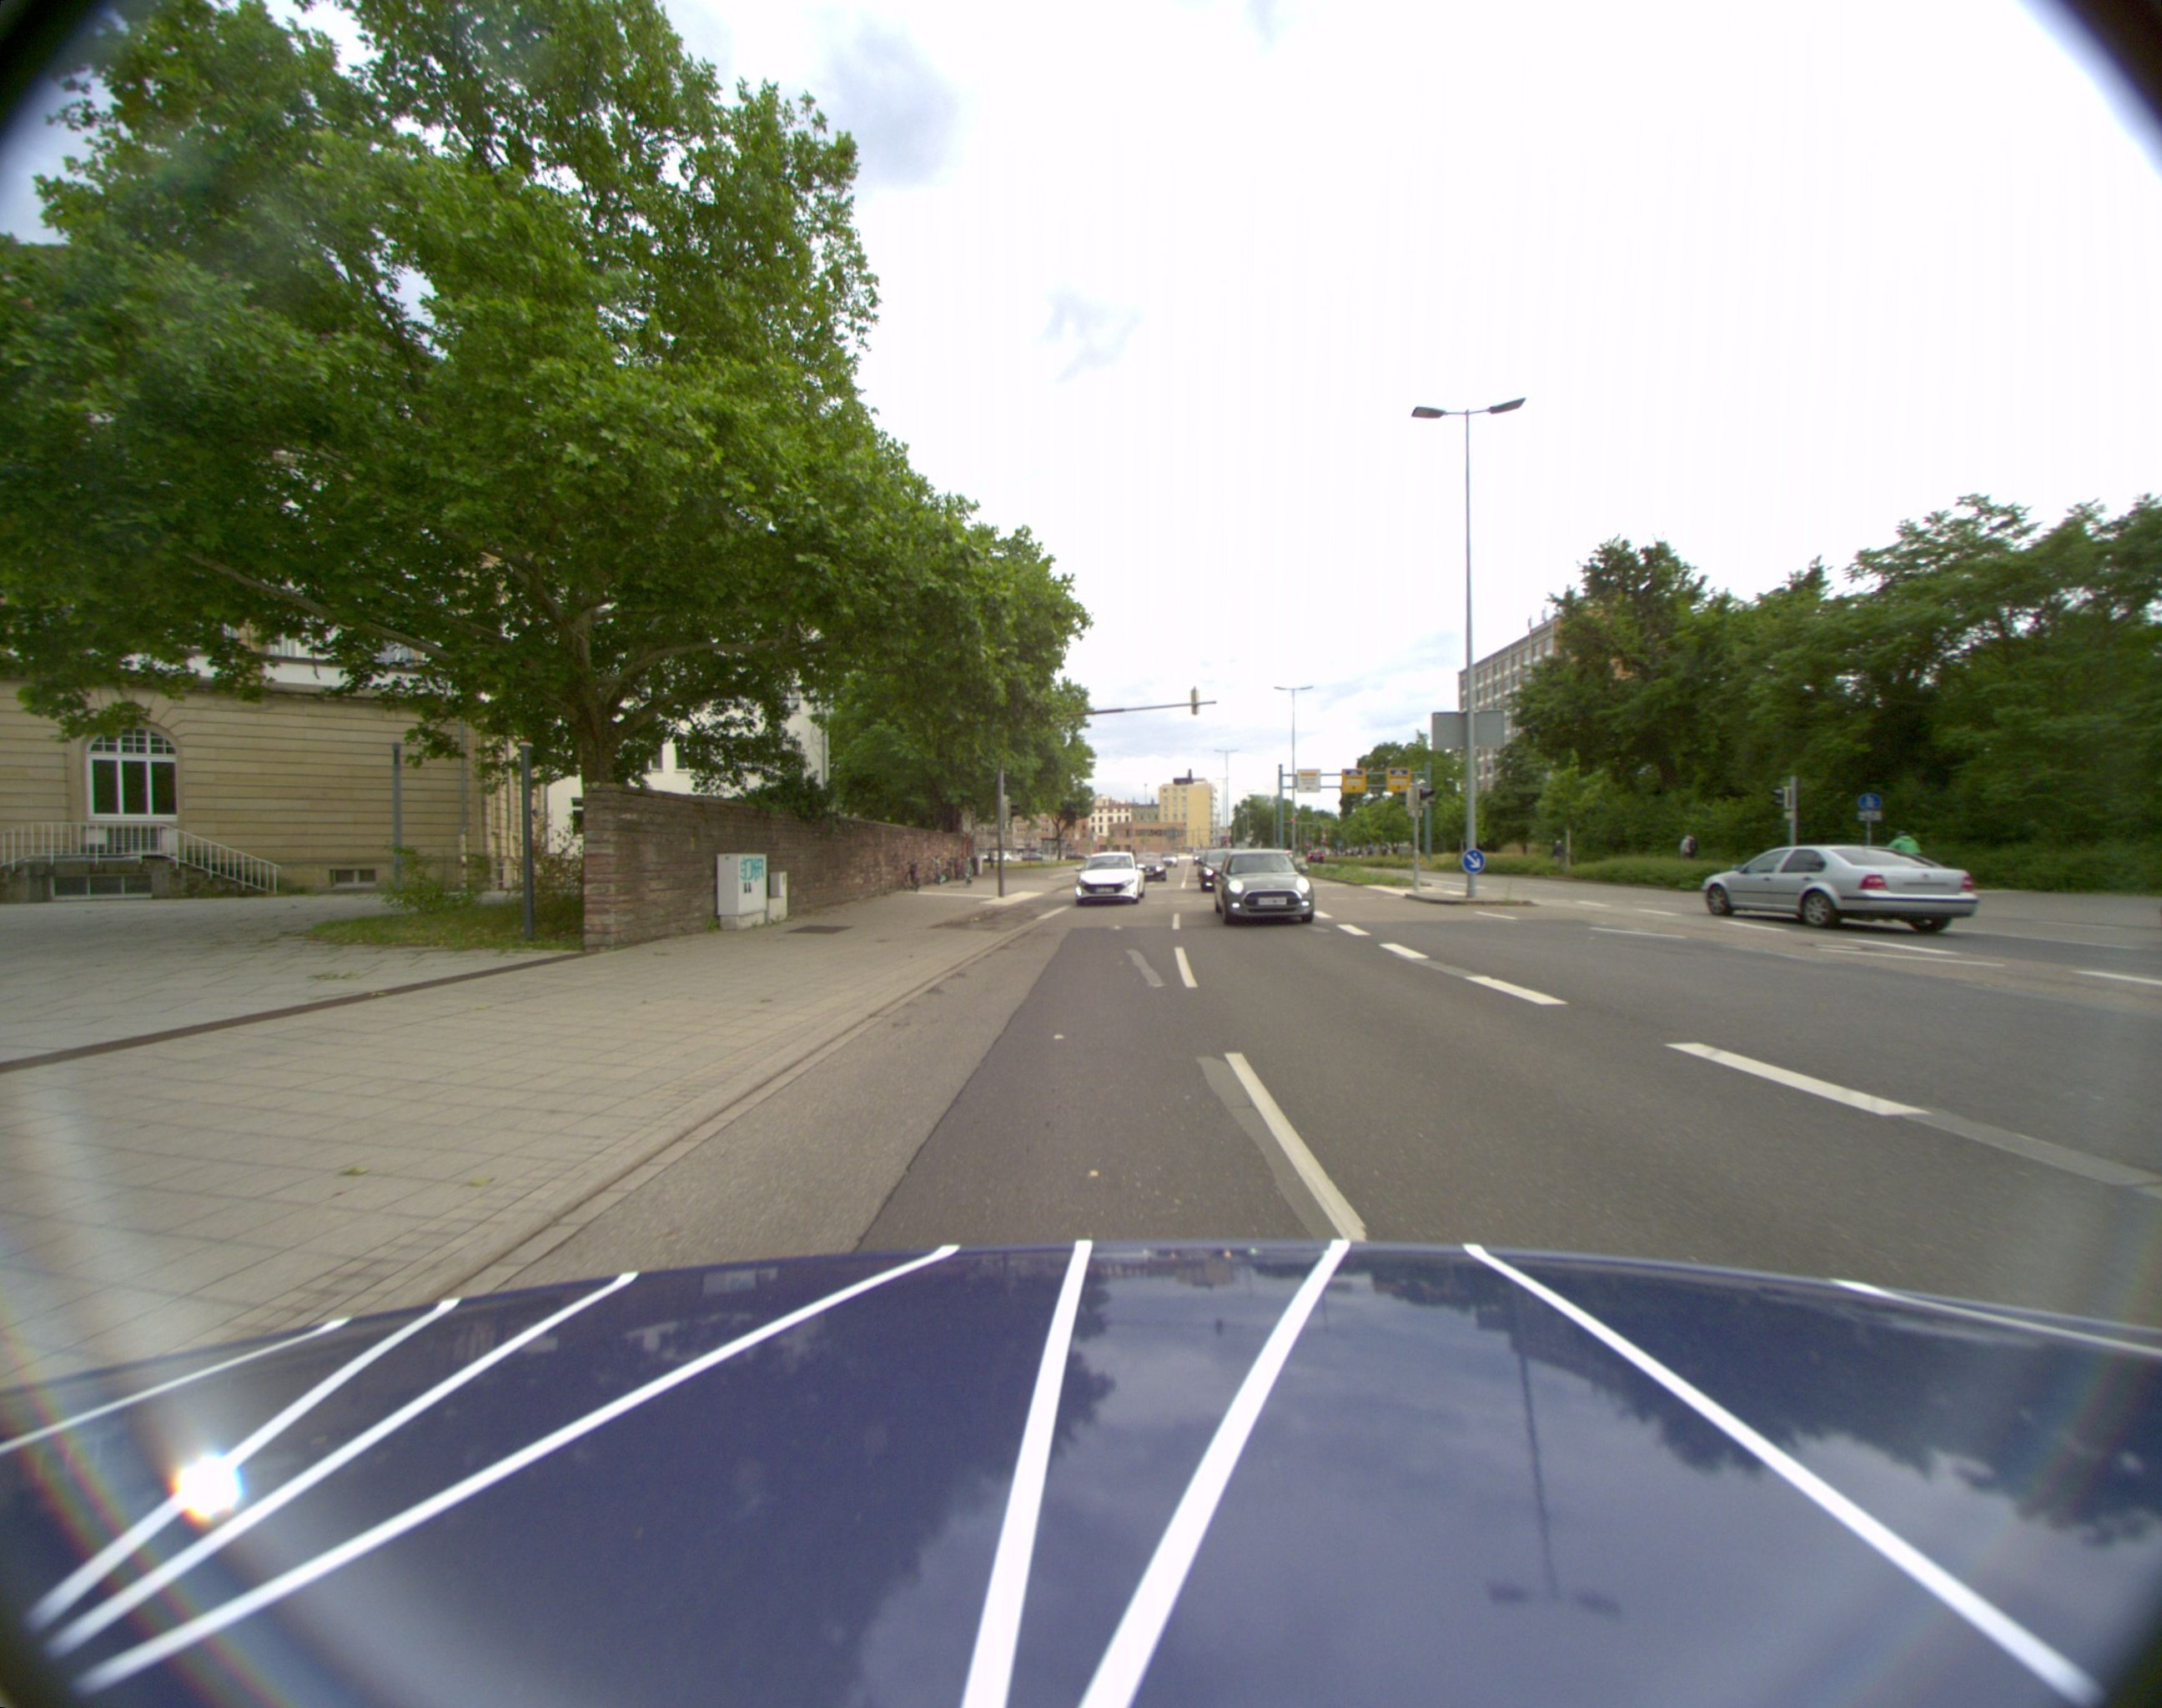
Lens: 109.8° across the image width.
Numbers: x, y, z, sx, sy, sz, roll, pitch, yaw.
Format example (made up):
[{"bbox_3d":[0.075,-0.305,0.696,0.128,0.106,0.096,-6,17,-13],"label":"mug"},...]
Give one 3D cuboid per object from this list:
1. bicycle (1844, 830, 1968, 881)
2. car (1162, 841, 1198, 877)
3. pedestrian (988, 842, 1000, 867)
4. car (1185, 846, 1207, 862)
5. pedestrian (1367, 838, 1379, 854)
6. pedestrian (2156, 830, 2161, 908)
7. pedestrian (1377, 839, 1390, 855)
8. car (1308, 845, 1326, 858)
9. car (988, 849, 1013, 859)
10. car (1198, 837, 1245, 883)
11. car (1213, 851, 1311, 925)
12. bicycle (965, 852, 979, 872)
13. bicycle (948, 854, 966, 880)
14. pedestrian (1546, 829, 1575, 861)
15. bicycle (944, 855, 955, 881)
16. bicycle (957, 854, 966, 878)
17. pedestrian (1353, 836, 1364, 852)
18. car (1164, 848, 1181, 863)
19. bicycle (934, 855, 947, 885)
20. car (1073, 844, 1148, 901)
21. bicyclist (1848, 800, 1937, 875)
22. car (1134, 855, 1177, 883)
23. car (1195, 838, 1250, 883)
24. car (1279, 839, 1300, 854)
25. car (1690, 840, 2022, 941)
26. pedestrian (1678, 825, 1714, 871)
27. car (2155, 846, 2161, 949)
[{"bbox_3d":[22.995,0.051,21.255,0.607,1.325,2.308,-3,1,-15],"label":"bicycle"},{"bbox_3d":[5.853,0.265,44.849,1.997,2.002,4.002,0,1,8],"label":"car"},{"bbox_3d":[-7.231,0.044,63.038,0.784,2.002,0.887,0,1,-17],"label":"pedestrian"},{"bbox_3d":[11.647,-0.039,77.057,1.997,1.536,4.002,-3,0,7],"label":"car"},{"bbox_3d":[36.595,-1.010,95.240,0.881,2.002,1.221,-2,1,0],"label":"pedestrian"},{"bbox_3d":[23.524,0.314,16.077,0.590,1.685,0.653,-2,1,7],"label":"pedestrian"},{"bbox_3d":[35.828,-0.839,90.034,1.136,1.908,1.163,-2,1,11],"label":"pedestrian"},{"bbox_3d":[28.524,-0.345,92.075,1.853,1.543,4.004,-1,1,14],"label":"car"},{"bbox_3d":[-13.820,0.022,130.779,3.996,1.760,2.000,0,1,2],"label":"car"},{"bbox_3d":[6.427,0.224,35.141,1.997,2.002,4.002,0,1,8],"label":"car"},{"bbox_3d":[3.624,0.611,15.723,1.624,1.310,3.707,0,1,8],"label":"car"},{"bbox_3d":[-6.106,0.425,42.549,0.478,1.070,2.083,0,1,1],"label":"bicycle"},{"bbox_3d":[-5.837,0.606,35.733,0.386,1.137,1.938,-3,1,-23],"label":"bicycle"},{"bbox_3d":[24.925,-0.447,39.489,0.990,1.616,0.814,-2,1,5],"label":"pedestrian"},{"bbox_3d":[-5.936,0.622,34.235,0.386,1.137,1.939,-3,1,-12],"label":"bicycle"},{"bbox_3d":[-5.857,0.595,37.364,0.339,1.137,1.940,-2,1,-8],"label":"bicycle"},{"bbox_3d":[35.465,-1.260,96.976,0.881,2.002,1.221,-2,1,0],"label":"pedestrian"},{"bbox_3d":[8.886,0.151,73.978,1.605,1.360,3.580,-1,1,6],"label":"car"},{"bbox_3d":[-5.747,0.638,31.064,0.386,1.137,1.939,-3,1,-12],"label":"bicycle"},{"bbox_3d":[0.964,0.483,22.411,1.812,1.533,4.002,0,1,8],"label":"car"},{"bbox_3d":[22.749,-0.457,21.320,1.185,2.002,1.280,-3,1,-15],"label":"bicyclist"},{"bbox_3d":[3.606,0.687,36.296,1.702,1.182,2.832,-2,1,12],"label":"car"},{"bbox_3d":[4.892,0.192,26.627,1.731,1.450,4.002,0,1,8],"label":"car"},{"bbox_3d":[25.486,-0.940,93.119,1.892,1.763,4.001,-2,1,7],"label":"car"},{"bbox_3d":[13.430,0.529,13.651,1.997,1.520,4.276,0,1,9],"label":"car"},{"bbox_3d":[27.226,-0.272,33.668,0.908,2.002,0.823,-3,1,12],"label":"pedestrian"},{"bbox_3d":[16.006,0.618,8.891,1.856,1.455,3.699,0,0,8],"label":"car"}]
